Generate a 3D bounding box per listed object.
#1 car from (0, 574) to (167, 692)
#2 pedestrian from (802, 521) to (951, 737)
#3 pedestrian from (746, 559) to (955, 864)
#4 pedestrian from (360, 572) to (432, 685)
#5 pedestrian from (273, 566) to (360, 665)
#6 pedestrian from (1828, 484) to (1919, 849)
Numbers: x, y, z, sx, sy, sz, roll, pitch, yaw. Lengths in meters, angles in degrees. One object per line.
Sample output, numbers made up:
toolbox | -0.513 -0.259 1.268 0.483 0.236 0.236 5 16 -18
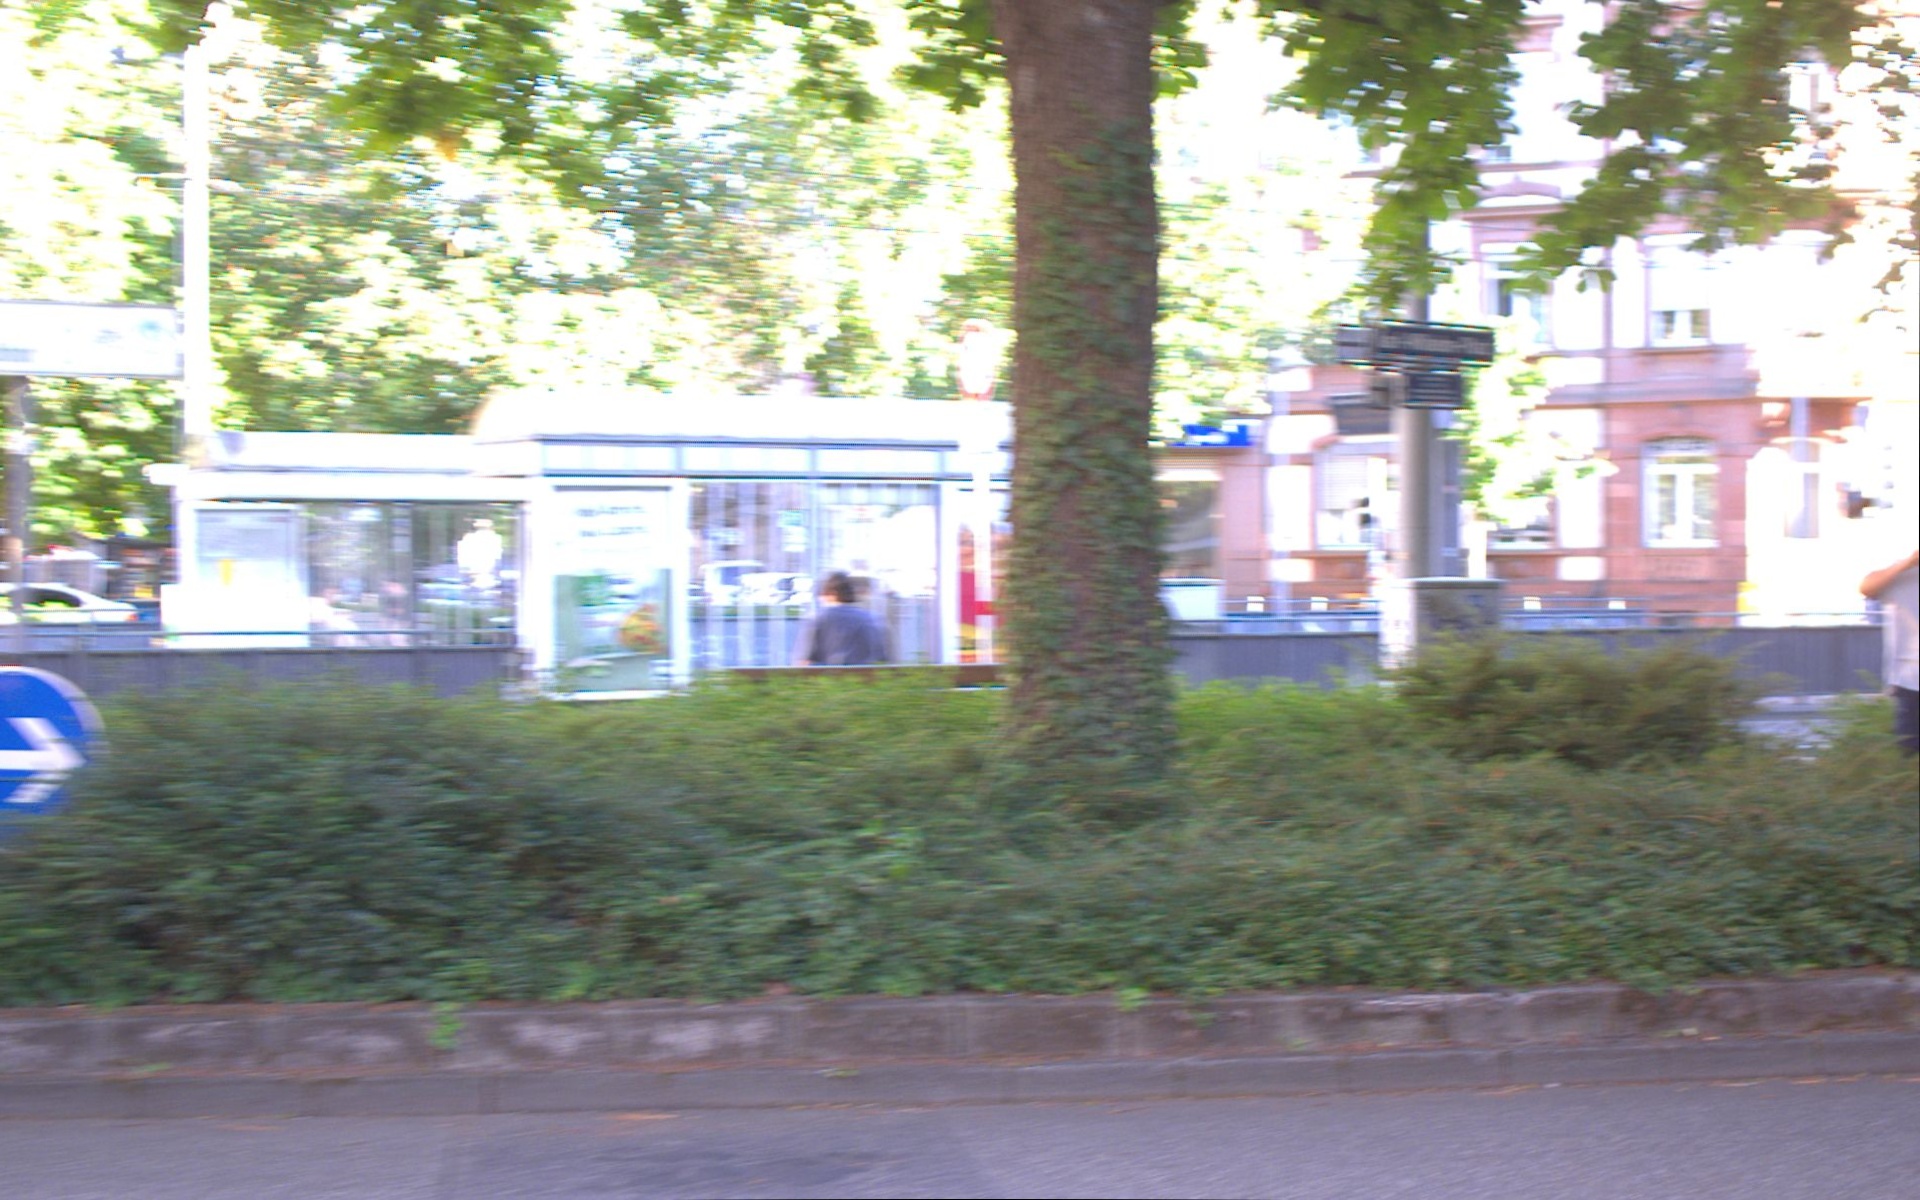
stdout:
car | -15.261 0.522 56.311 3.987 1.864 2.000 -1 1 -33
pedestrian | -0.750 0.247 30.759 1.016 1.891 0.912 0 1 -30
pedestrian | -0.617 0.611 19.494 0.897 1.678 0.818 0 1 26
pedestrian | -7.890 0.398 48.060 0.809 1.538 0.821 2 0 -19
pedestrian | -10.765 0.254 57.518 1.061 1.625 1.003 -1 1 -41
pedestrian | 4.639 0.300 16.183 0.915 1.678 0.780 0 1 2
